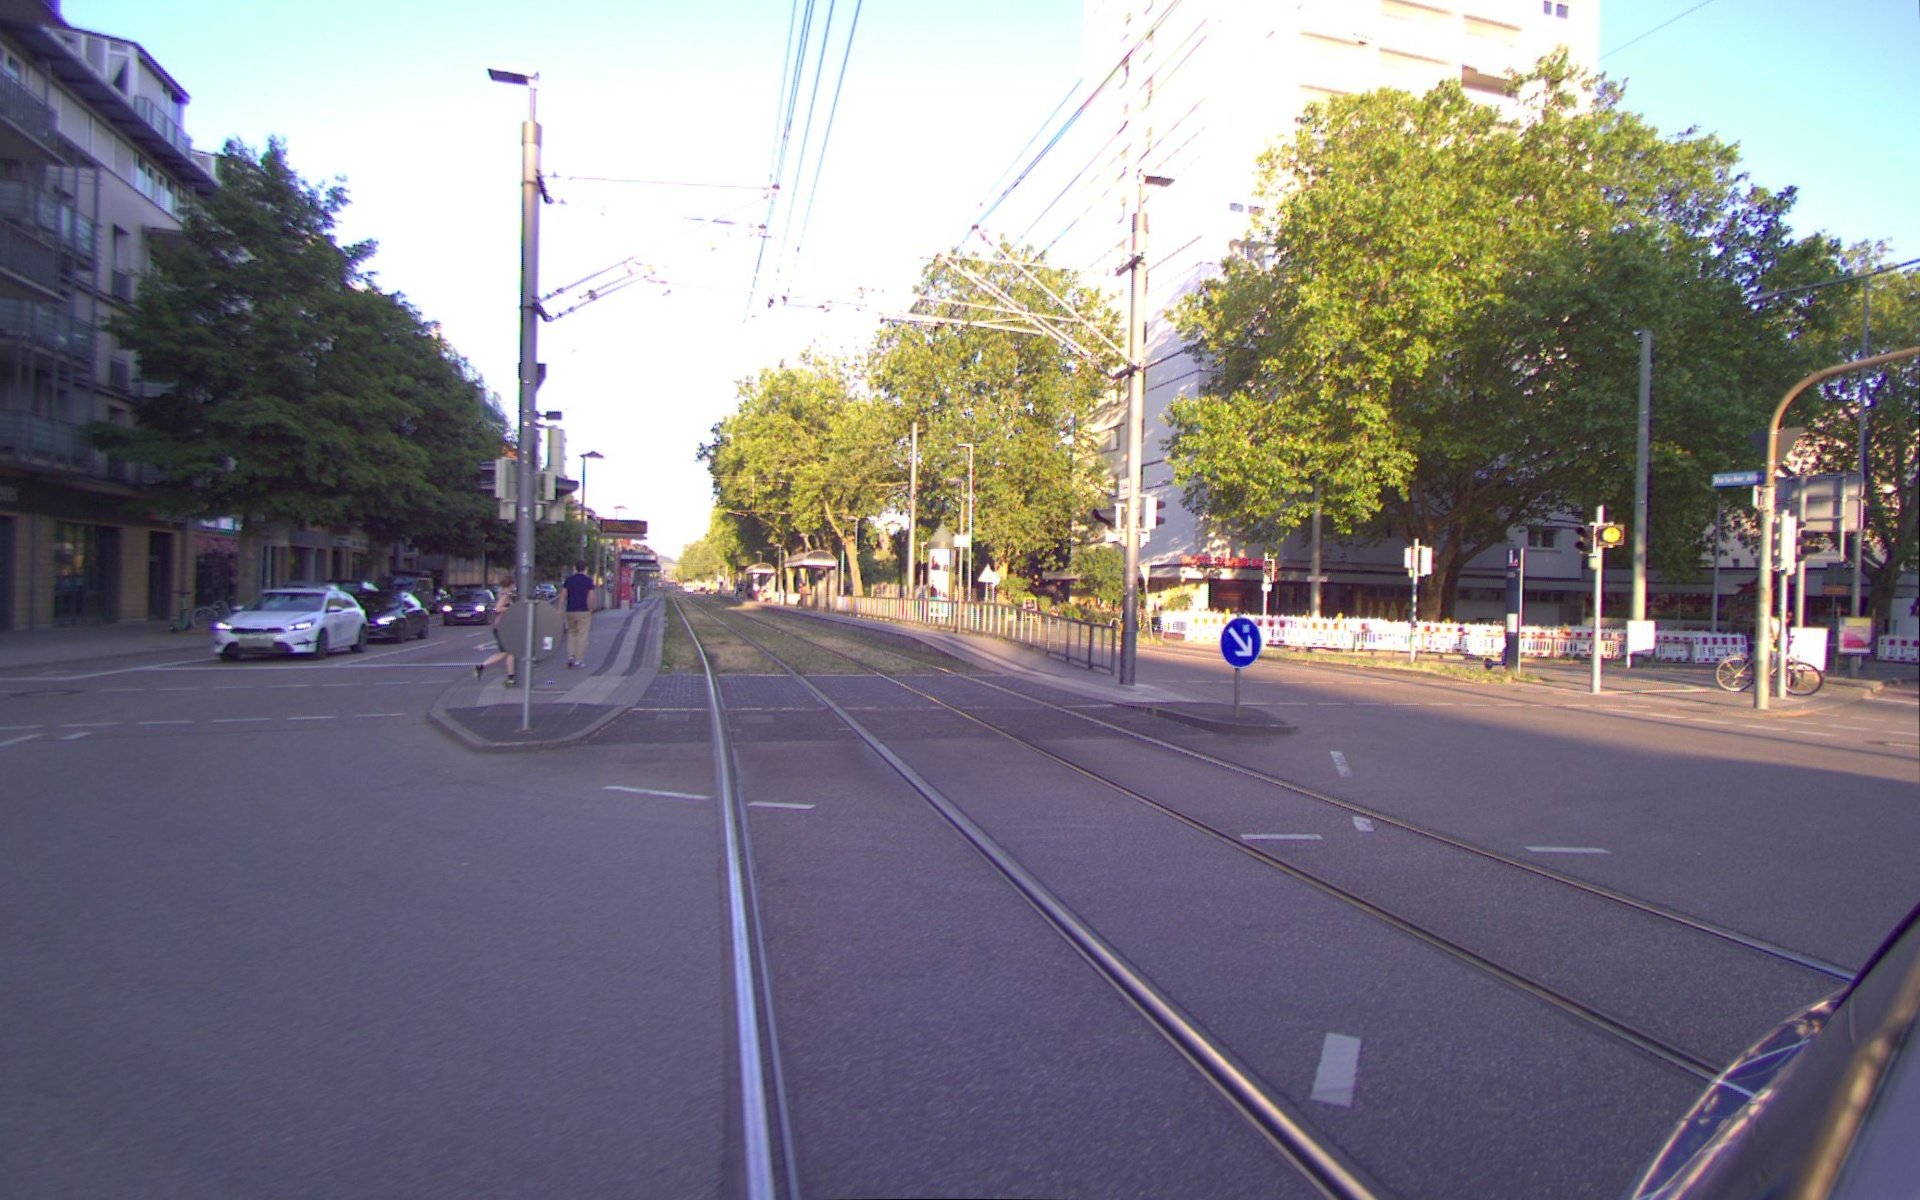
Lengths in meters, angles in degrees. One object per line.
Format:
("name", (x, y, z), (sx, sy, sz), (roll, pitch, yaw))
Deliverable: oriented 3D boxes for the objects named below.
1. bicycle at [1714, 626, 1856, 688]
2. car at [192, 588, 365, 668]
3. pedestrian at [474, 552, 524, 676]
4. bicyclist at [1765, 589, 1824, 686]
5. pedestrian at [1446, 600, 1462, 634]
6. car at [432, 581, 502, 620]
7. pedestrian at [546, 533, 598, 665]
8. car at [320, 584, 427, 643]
("bicycle", (16.048, 1.101, 19.750), (2.045, 1.123, 0.624), (0, 0, 19))
("car", (-14.147, 0.520, 21.286), (1.811, 1.505, 4.008), (0, 0, -15))
("pedestrian", (-6.845, 0.201, 15.064), (0.532, 1.801, 0.791), (0, 0, -14))
("bicyclist", (16.226, 0.717, 19.692), (0.690, 1.847, 0.624), (0, 0, 19))
("pedestrian", (23.677, 0.784, 48.527), (0.634, 1.608, 0.741), (0, 0, 22))
("car", (-20.023, 0.021, 41.243), (1.811, 1.505, 4.008), (0, 0, -15))
("pedestrian", (-6.796, -0.024, 17.718), (0.804, 2.237, 0.872), (0, 0, -24))
("car", (-16.090, 0.332, 27.955), (1.811, 1.505, 4.008), (0, 0, -19))
